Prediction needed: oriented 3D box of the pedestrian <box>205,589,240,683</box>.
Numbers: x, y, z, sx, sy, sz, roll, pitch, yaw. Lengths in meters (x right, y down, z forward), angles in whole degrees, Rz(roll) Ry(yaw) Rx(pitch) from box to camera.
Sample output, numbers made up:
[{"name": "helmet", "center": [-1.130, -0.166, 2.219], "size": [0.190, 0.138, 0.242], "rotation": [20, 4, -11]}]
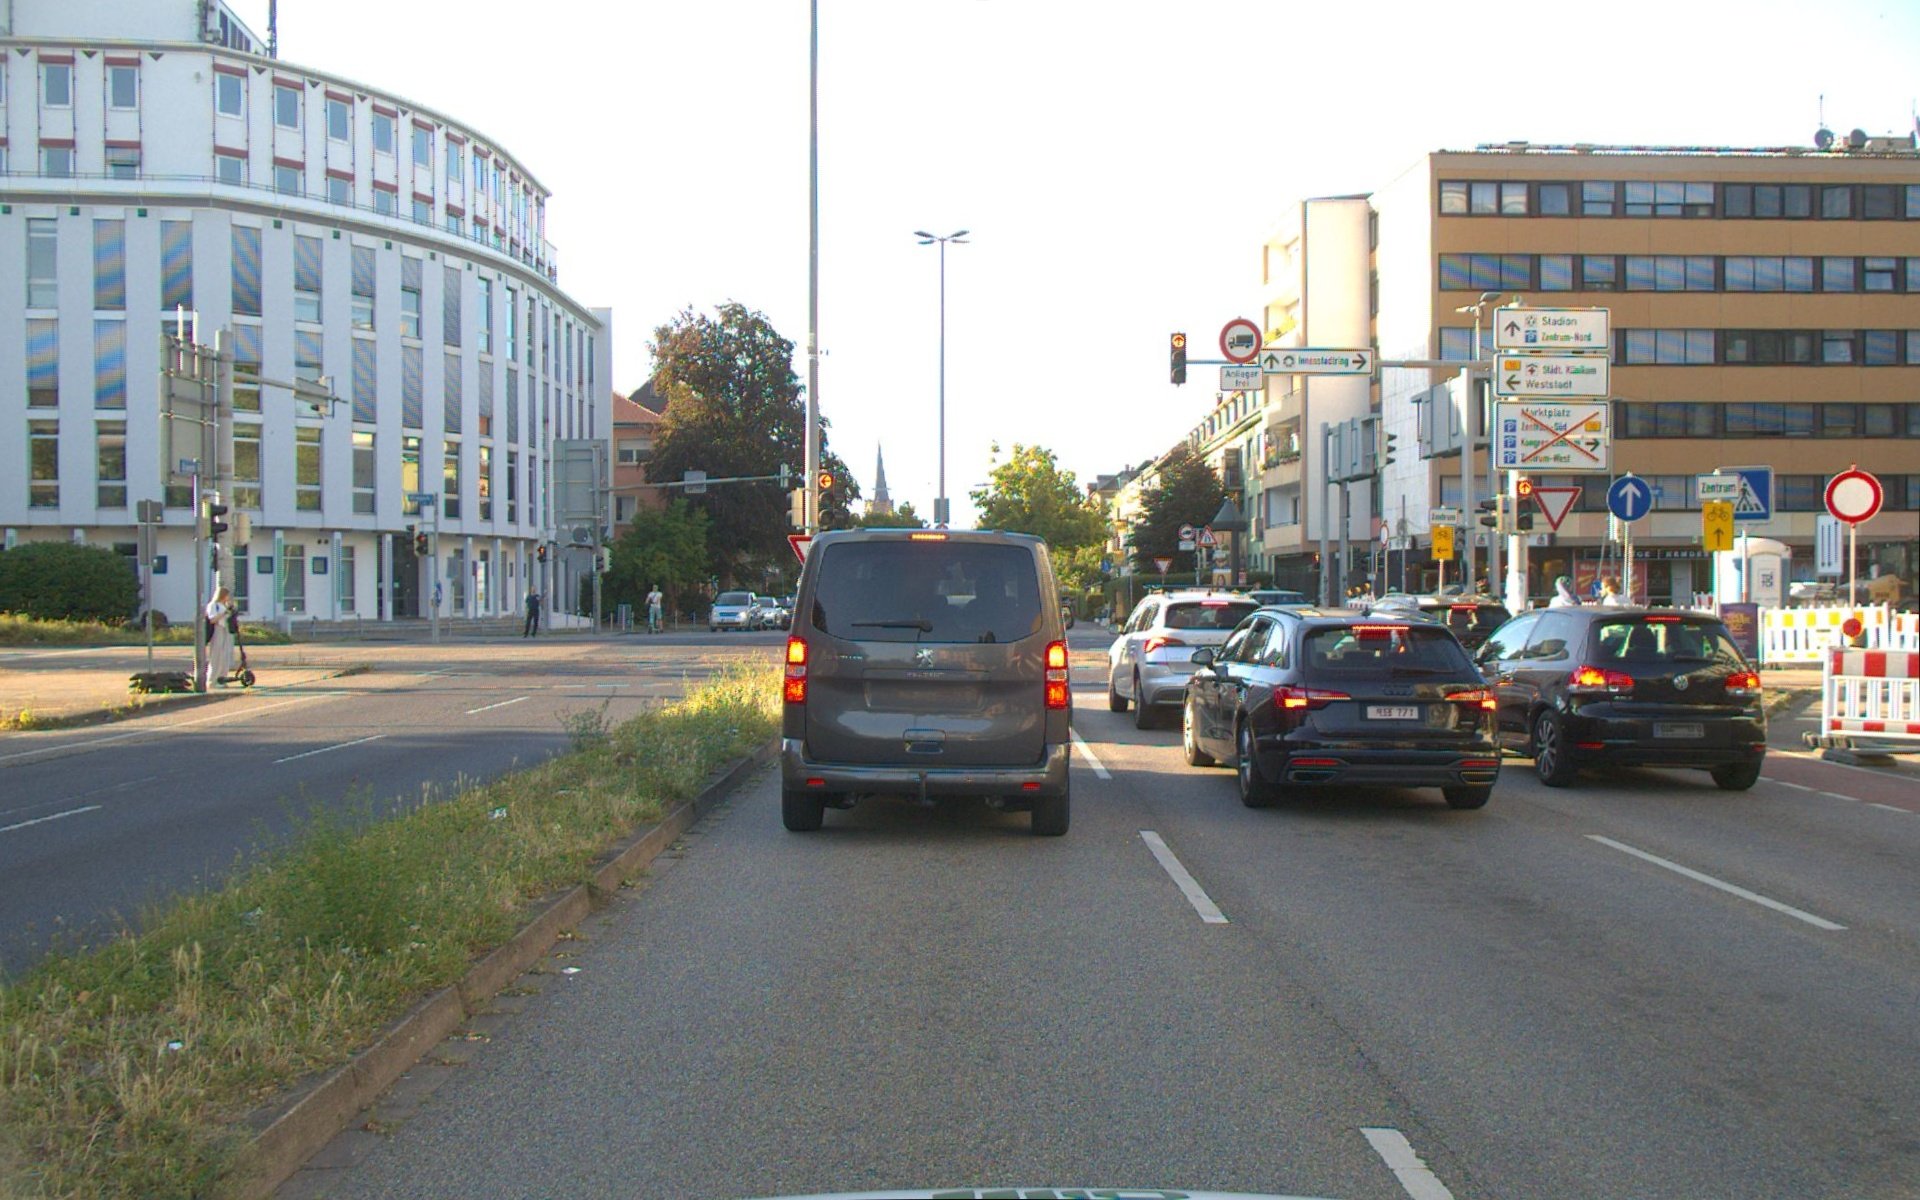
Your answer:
[{"name": "pedestrian", "center": [-12.201, 0.587, 27.368], "size": [0.466, 1.532, 0.334], "rotation": [0, 0, -13]}]

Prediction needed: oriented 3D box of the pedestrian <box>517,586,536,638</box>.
[{"name": "pedestrian", "center": [-14.611, 0.404, 55.776], "size": [0.615, 1.752, 0.669], "rotation": [0, 0, -14]}]

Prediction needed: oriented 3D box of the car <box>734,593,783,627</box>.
[{"name": "car", "center": [-8.870, 0.405, 73.011], "size": [1.818, 1.445, 3.998], "rotation": [-1, 0, -2]}]

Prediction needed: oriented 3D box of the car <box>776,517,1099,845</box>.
[{"name": "car", "center": [-0.156, 0.464, 11.995], "size": [1.868, 1.896, 4.526], "rotation": [1, 0, -1]}]

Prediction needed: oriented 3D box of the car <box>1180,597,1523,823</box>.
[{"name": "car", "center": [2.876, 0.727, 13.049], "size": [1.647, 1.446, 4.213], "rotation": [1, 0, -1]}]

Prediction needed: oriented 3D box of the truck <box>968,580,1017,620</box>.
[{"name": "truck", "center": [1.741, -0.036, 91.009], "size": [2.087, 2.123, 4.624], "rotation": [-1, 0, -7]}]

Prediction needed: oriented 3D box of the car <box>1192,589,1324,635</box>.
[{"name": "car", "center": [9.790, 0.382, 54.496], "size": [3.913, 1.445, 1.784], "rotation": [0, 0, -9]}]

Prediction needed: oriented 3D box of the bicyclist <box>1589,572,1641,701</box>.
[{"name": "bicyclist", "center": [7.994, 0.439, 20.205], "size": [0.432, 1.552, 0.482], "rotation": [0, 0, -1]}]

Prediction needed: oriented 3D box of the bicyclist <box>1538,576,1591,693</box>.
[{"name": "bicyclist", "center": [8.168, 0.453, 22.365], "size": [0.432, 1.552, 0.725], "rotation": [0, 0, -1]}]

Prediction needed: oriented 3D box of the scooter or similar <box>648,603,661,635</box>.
[{"name": "scooter or similar", "center": [-11.662, 0.729, 63.118], "size": [0.279, 1.209, 1.169], "rotation": [0, 0, -1]}]

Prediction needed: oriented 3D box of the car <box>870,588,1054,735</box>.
[{"name": "car", "center": [0.003, 0.643, 19.634], "size": [1.953, 1.557, 3.999], "rotation": [0, 0, -1]}]

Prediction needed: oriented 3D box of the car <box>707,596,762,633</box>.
[{"name": "car", "center": [-9.122, 0.558, 67.214], "size": [1.818, 1.445, 3.998], "rotation": [-1, 0, -2]}]

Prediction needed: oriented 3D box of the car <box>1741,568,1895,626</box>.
[{"name": "car", "center": [28.594, -0.102, 55.221], "size": [4.129, 1.849, 2.000], "rotation": [-1, 0, -1]}]

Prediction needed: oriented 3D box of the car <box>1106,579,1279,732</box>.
[{"name": "car", "center": [2.704, 0.590, 19.905], "size": [1.497, 1.641, 3.745], "rotation": [1, 0, -1]}]

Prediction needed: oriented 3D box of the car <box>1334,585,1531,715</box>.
[{"name": "car", "center": [5.762, 0.554, 20.512], "size": [1.474, 1.474, 3.304], "rotation": [0, 0, -1]}]

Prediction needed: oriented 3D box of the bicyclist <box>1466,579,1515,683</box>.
[{"name": "bicyclist", "center": [8.110, 0.466, 25.300], "size": [0.503, 1.552, 0.725], "rotation": [0, 0, -1]}]

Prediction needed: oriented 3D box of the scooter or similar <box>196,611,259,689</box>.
[{"name": "scooter or similar", "center": [-12.094, 0.822, 27.319], "size": [0.877, 1.255, 0.370], "rotation": [0, 0, -12]}]

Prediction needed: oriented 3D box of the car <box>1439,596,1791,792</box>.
[{"name": "car", "center": [5.636, 0.728, 14.728], "size": [1.600, 1.474, 3.745], "rotation": [1, 0, -1]}]

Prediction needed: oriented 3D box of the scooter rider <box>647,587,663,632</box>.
[{"name": "scooter rider", "center": [-11.665, 0.362, 63.218], "size": [0.471, 1.727, 0.636], "rotation": [0, 0, -1]}]

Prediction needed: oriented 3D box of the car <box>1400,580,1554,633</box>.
[{"name": "car", "center": [16.076, 0.194, 51.519], "size": [4.257, 1.576, 1.784], "rotation": [0, 0, -8]}]
